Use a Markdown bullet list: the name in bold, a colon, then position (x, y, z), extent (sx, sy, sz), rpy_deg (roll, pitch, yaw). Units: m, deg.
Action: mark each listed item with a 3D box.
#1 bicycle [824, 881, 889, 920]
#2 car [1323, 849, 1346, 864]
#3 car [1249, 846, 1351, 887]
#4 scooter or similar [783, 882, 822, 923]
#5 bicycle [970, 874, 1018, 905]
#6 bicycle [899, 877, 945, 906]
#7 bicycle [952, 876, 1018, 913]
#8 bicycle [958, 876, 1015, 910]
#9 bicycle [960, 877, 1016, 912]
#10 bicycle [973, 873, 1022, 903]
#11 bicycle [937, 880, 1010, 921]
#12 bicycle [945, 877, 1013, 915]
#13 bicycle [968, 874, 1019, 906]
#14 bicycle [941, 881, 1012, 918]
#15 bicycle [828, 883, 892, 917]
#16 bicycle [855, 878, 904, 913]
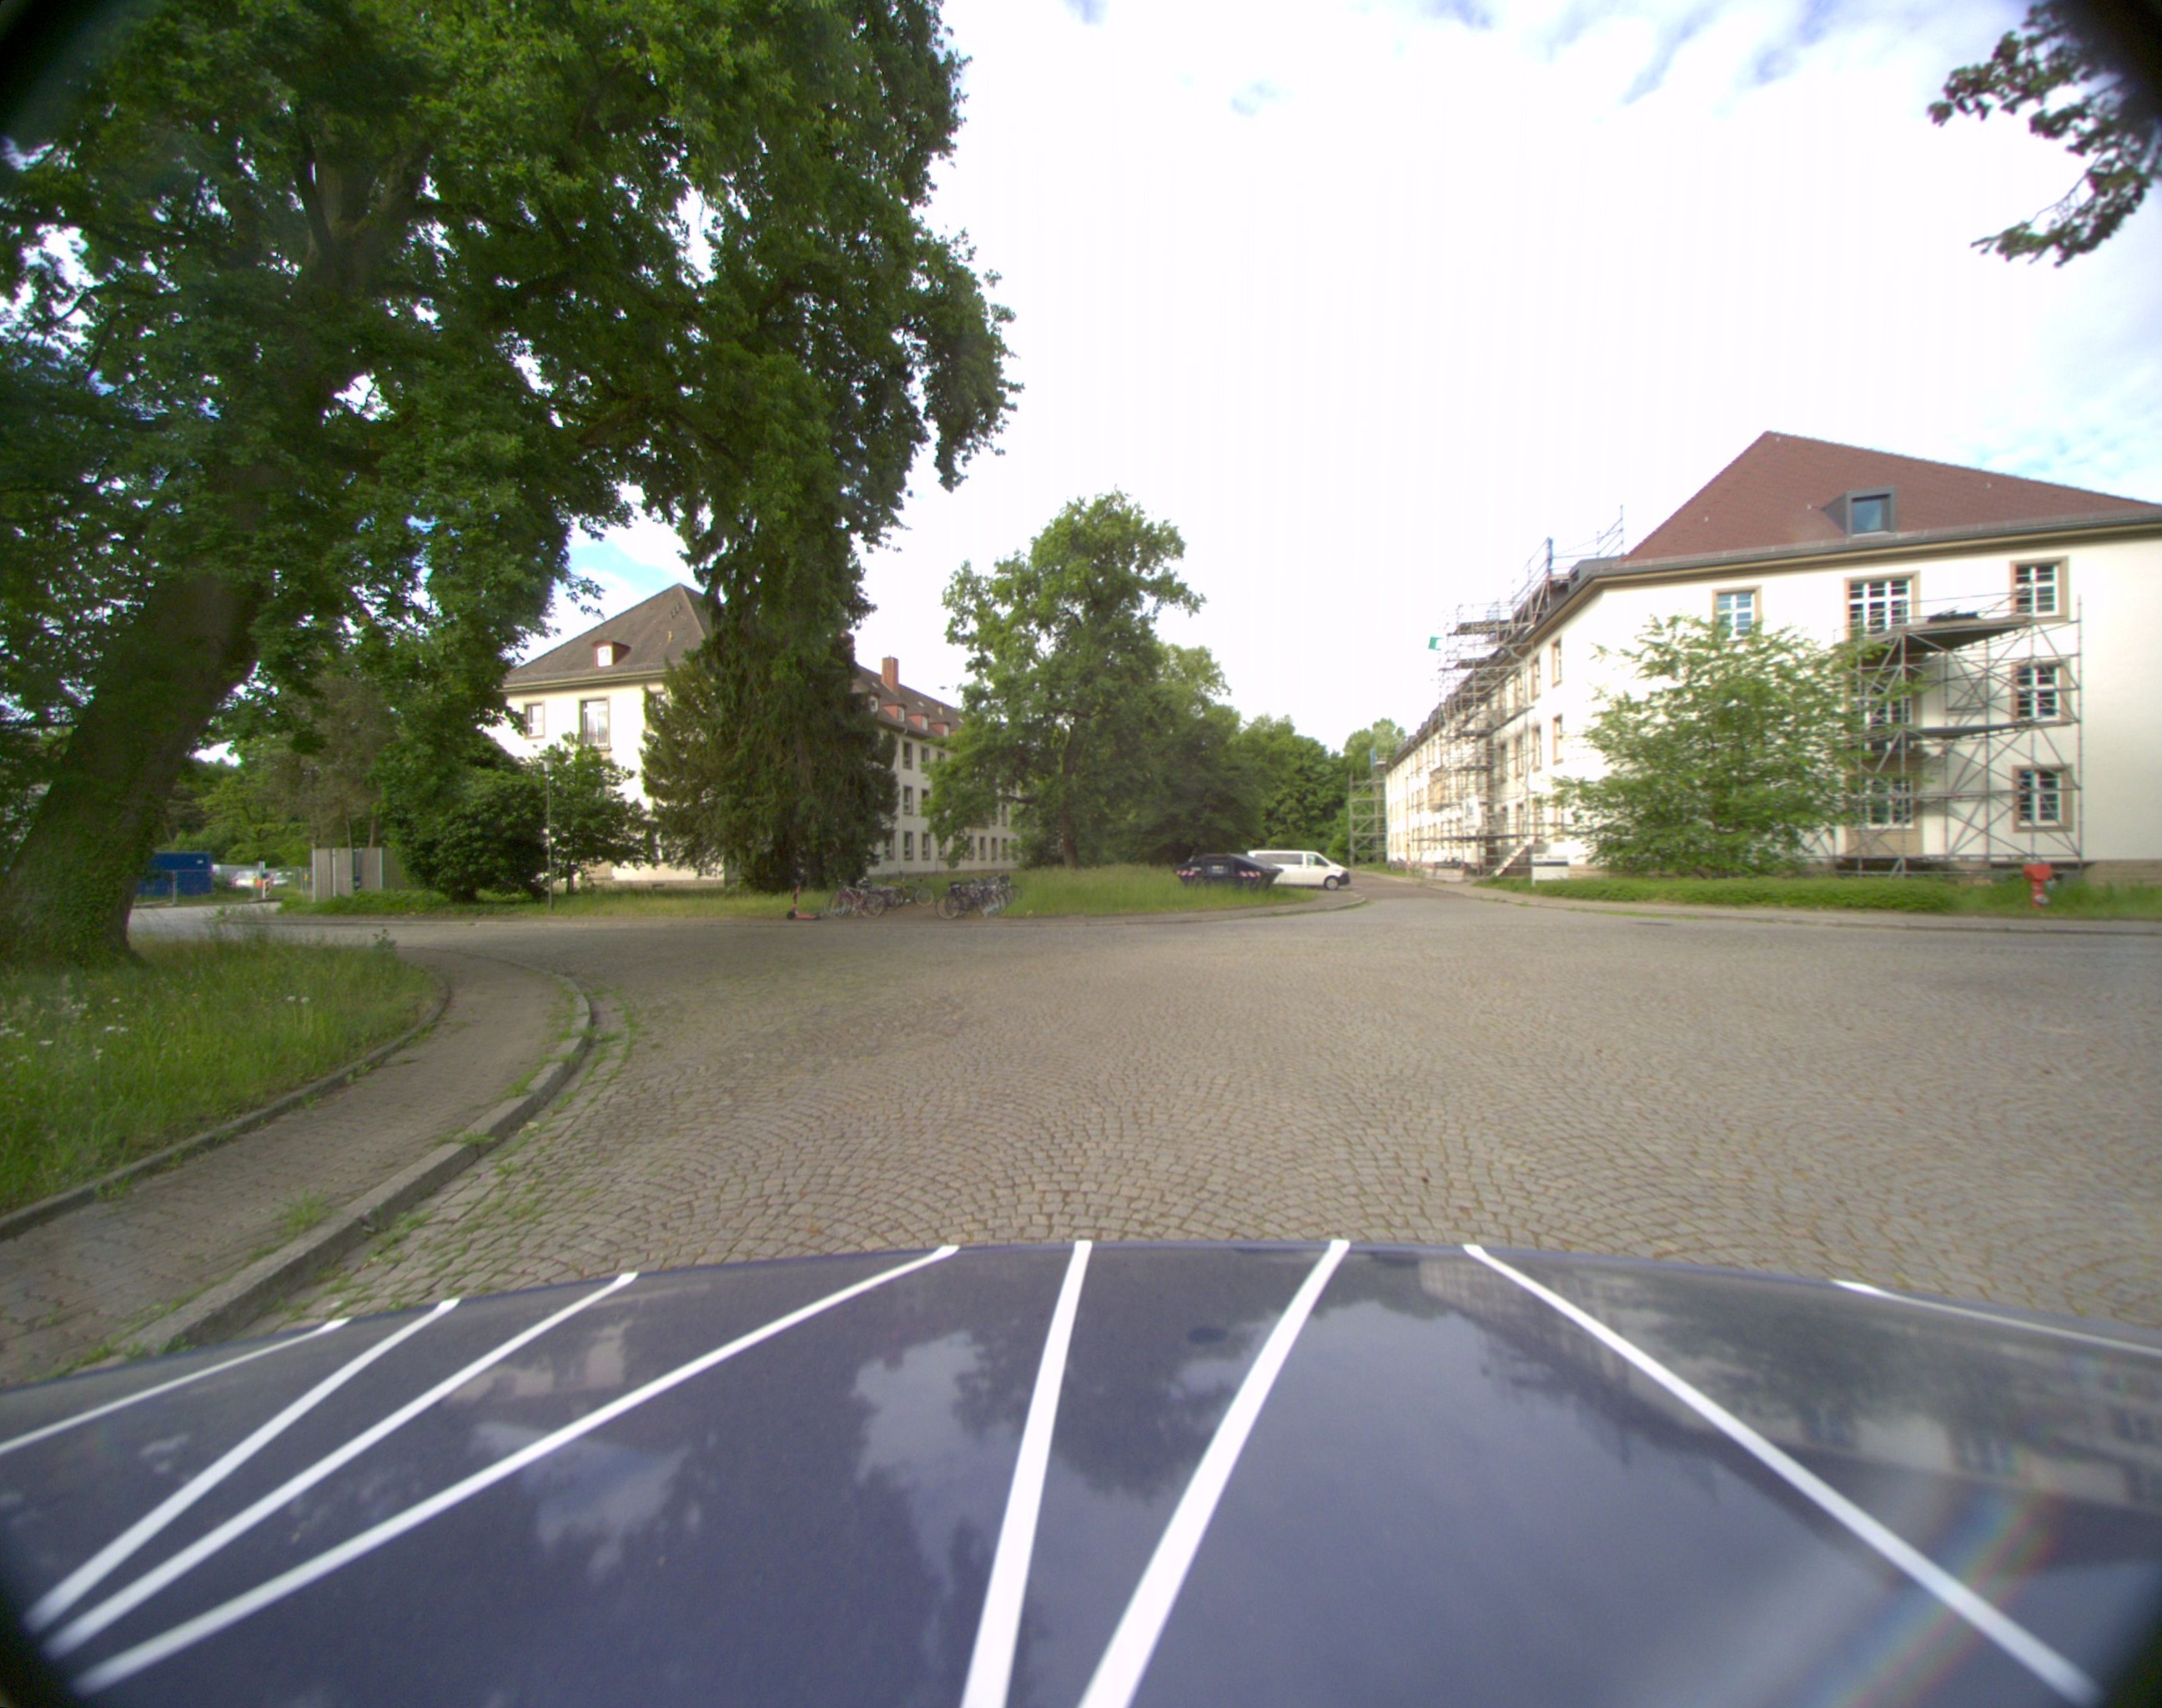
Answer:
- **bicycle**: position (-6.777, 1.399, 22.985), extent (1.813, 1.082, 0.478), rpy_deg (-1, 3, -12)
- **car**: position (33.911, 0.313, 101.682), extent (2.026, 1.915, 4.001), rpy_deg (-1, 0, 4)
- **car**: position (11.120, 0.632, 38.891), extent (4.910, 1.983, 2.002), rpy_deg (-1, 0, 13)
- **scooter or similar**: position (-8.266, 1.424, 22.577), extent (1.061, 1.187, 0.386), rpy_deg (-1, 0, 18)
- **bicycle**: position (-3.233, 1.301, 28.235), extent (1.751, 1.082, 0.553), rpy_deg (-1, 2, -7)
- **bicycle**: position (-5.745, 1.347, 27.520), extent (1.566, 1.028, 0.476), rpy_deg (-1, 1, -9)
- **bicycle**: position (-3.013, 1.264, 23.946), extent (2.017, 1.082, 0.478), rpy_deg (-1, 3, -7)
- **bicycle**: position (-3.160, 1.303, 25.552), extent (1.866, 1.082, 0.519), rpy_deg (-1, 3, -7)
- **bicycle**: position (-3.022, 1.303, 24.766), extent (1.789, 1.082, 0.478), rpy_deg (-1, 3, -7)
- **bicycle**: position (-3.190, 1.295, 29.029), extent (1.825, 1.082, 0.553), rpy_deg (-1, 2, -7)
- **bicycle**: position (-3.057, 1.310, 21.689), extent (2.017, 1.082, 0.478), rpy_deg (-1, 3, -7)
- **bicycle**: position (-3.116, 1.281, 23.312), extent (2.017, 1.082, 0.478), rpy_deg (-1, 3, -7)
- **bicycle**: position (-3.148, 1.300, 27.458), extent (1.808, 1.082, 0.553), rpy_deg (-1, 2, -7)
- **bicycle**: position (-3.036, 1.315, 22.182), extent (2.017, 1.004, 0.478), rpy_deg (-1, 3, -7)
- **bicycle**: position (-6.839, 1.420, 23.542), extent (1.857, 0.984, 0.456), rpy_deg (-1, 1, -12)
- **bicycle**: position (-6.690, 1.371, 25.258), extent (1.567, 1.082, 0.561), rpy_deg (-1, 1, -15)
